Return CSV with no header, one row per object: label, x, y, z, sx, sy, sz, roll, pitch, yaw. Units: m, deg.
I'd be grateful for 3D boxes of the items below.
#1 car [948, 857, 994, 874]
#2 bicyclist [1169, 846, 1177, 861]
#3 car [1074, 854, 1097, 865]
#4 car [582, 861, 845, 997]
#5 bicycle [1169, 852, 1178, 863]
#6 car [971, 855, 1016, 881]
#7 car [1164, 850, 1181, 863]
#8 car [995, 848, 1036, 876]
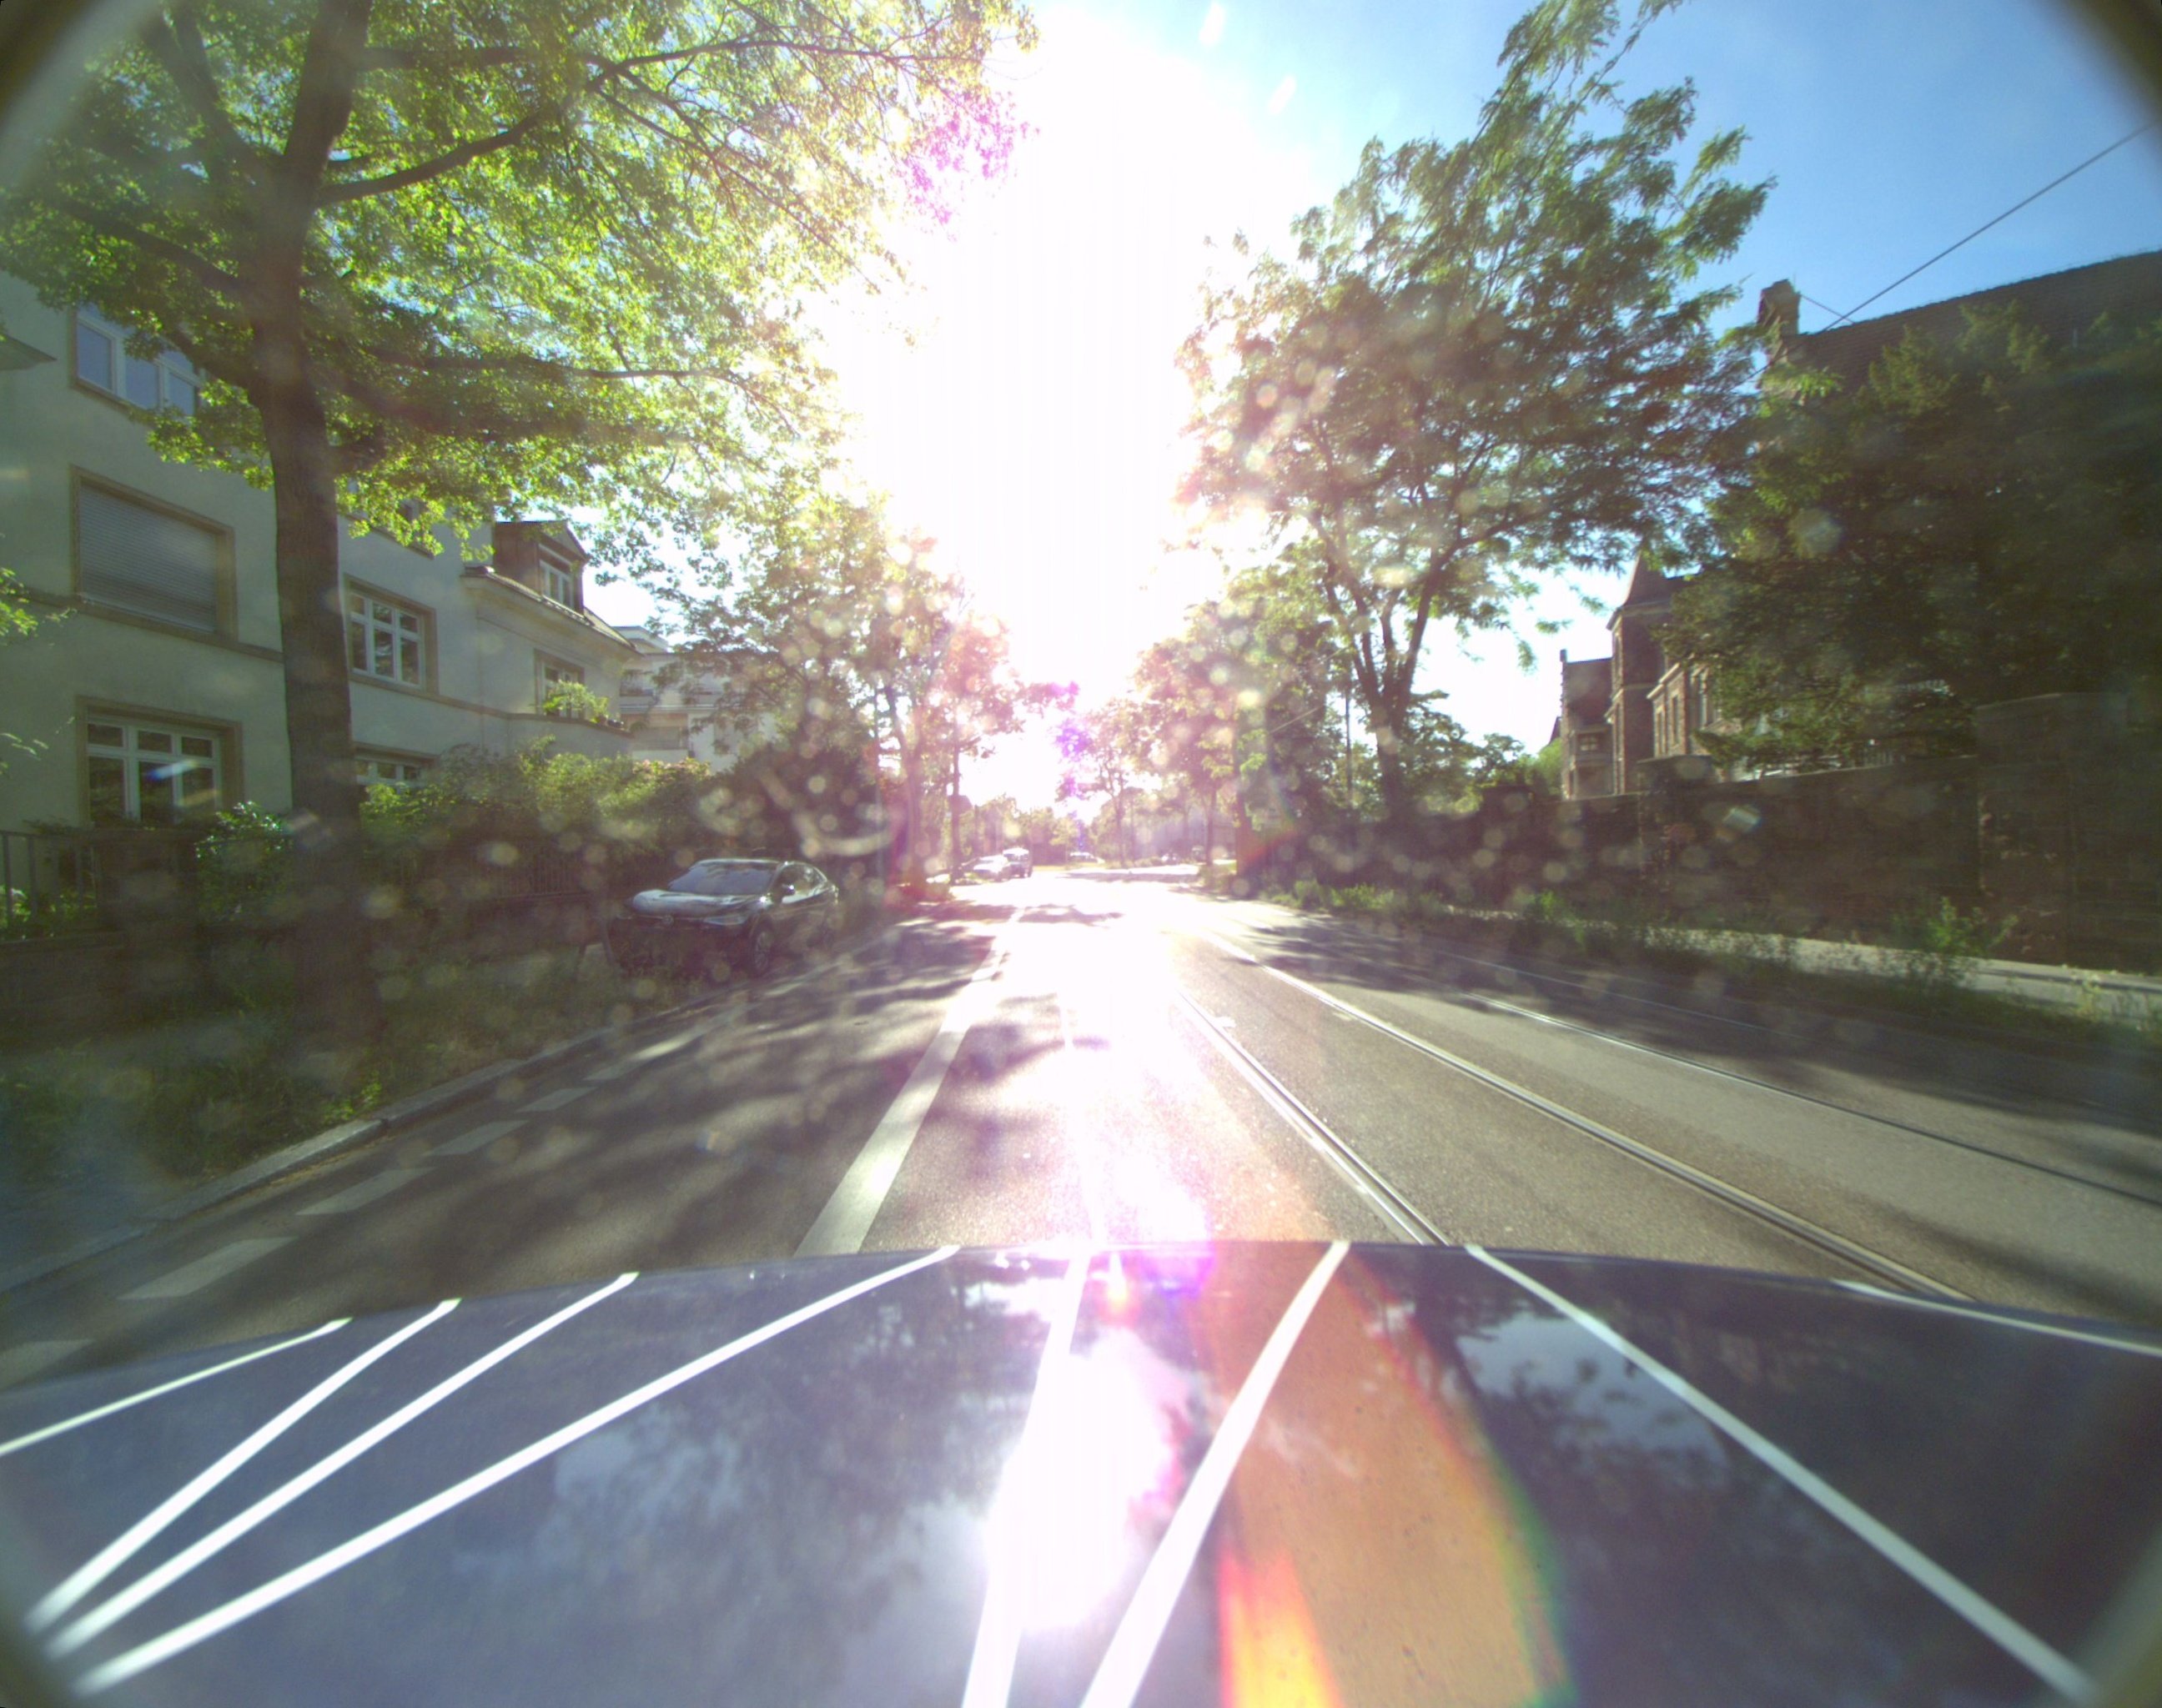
car,-10.033,1.047,69.539,3.998,1.433,1.813,-2,0,-3
bicyclist,10.169,-0.019,83.850,0.643,1.632,0.666,-2,1,19
car,0.767,0.918,128.789,3.908,1.683,1.905,-2,0,-1
car,-5.194,0.947,11.508,1.919,1.590,4.258,2,0,-1
bicycle,10.181,0.390,83.880,0.588,1.105,1.857,-1,0,19
car,-5.158,0.794,45.334,1.901,1.402,4.260,-1,0,4
car,11.927,0.313,98.720,1.997,1.539,4.002,-2,0,8
car,-4.395,0.505,51.690,1.900,1.775,4.670,-1,0,6
